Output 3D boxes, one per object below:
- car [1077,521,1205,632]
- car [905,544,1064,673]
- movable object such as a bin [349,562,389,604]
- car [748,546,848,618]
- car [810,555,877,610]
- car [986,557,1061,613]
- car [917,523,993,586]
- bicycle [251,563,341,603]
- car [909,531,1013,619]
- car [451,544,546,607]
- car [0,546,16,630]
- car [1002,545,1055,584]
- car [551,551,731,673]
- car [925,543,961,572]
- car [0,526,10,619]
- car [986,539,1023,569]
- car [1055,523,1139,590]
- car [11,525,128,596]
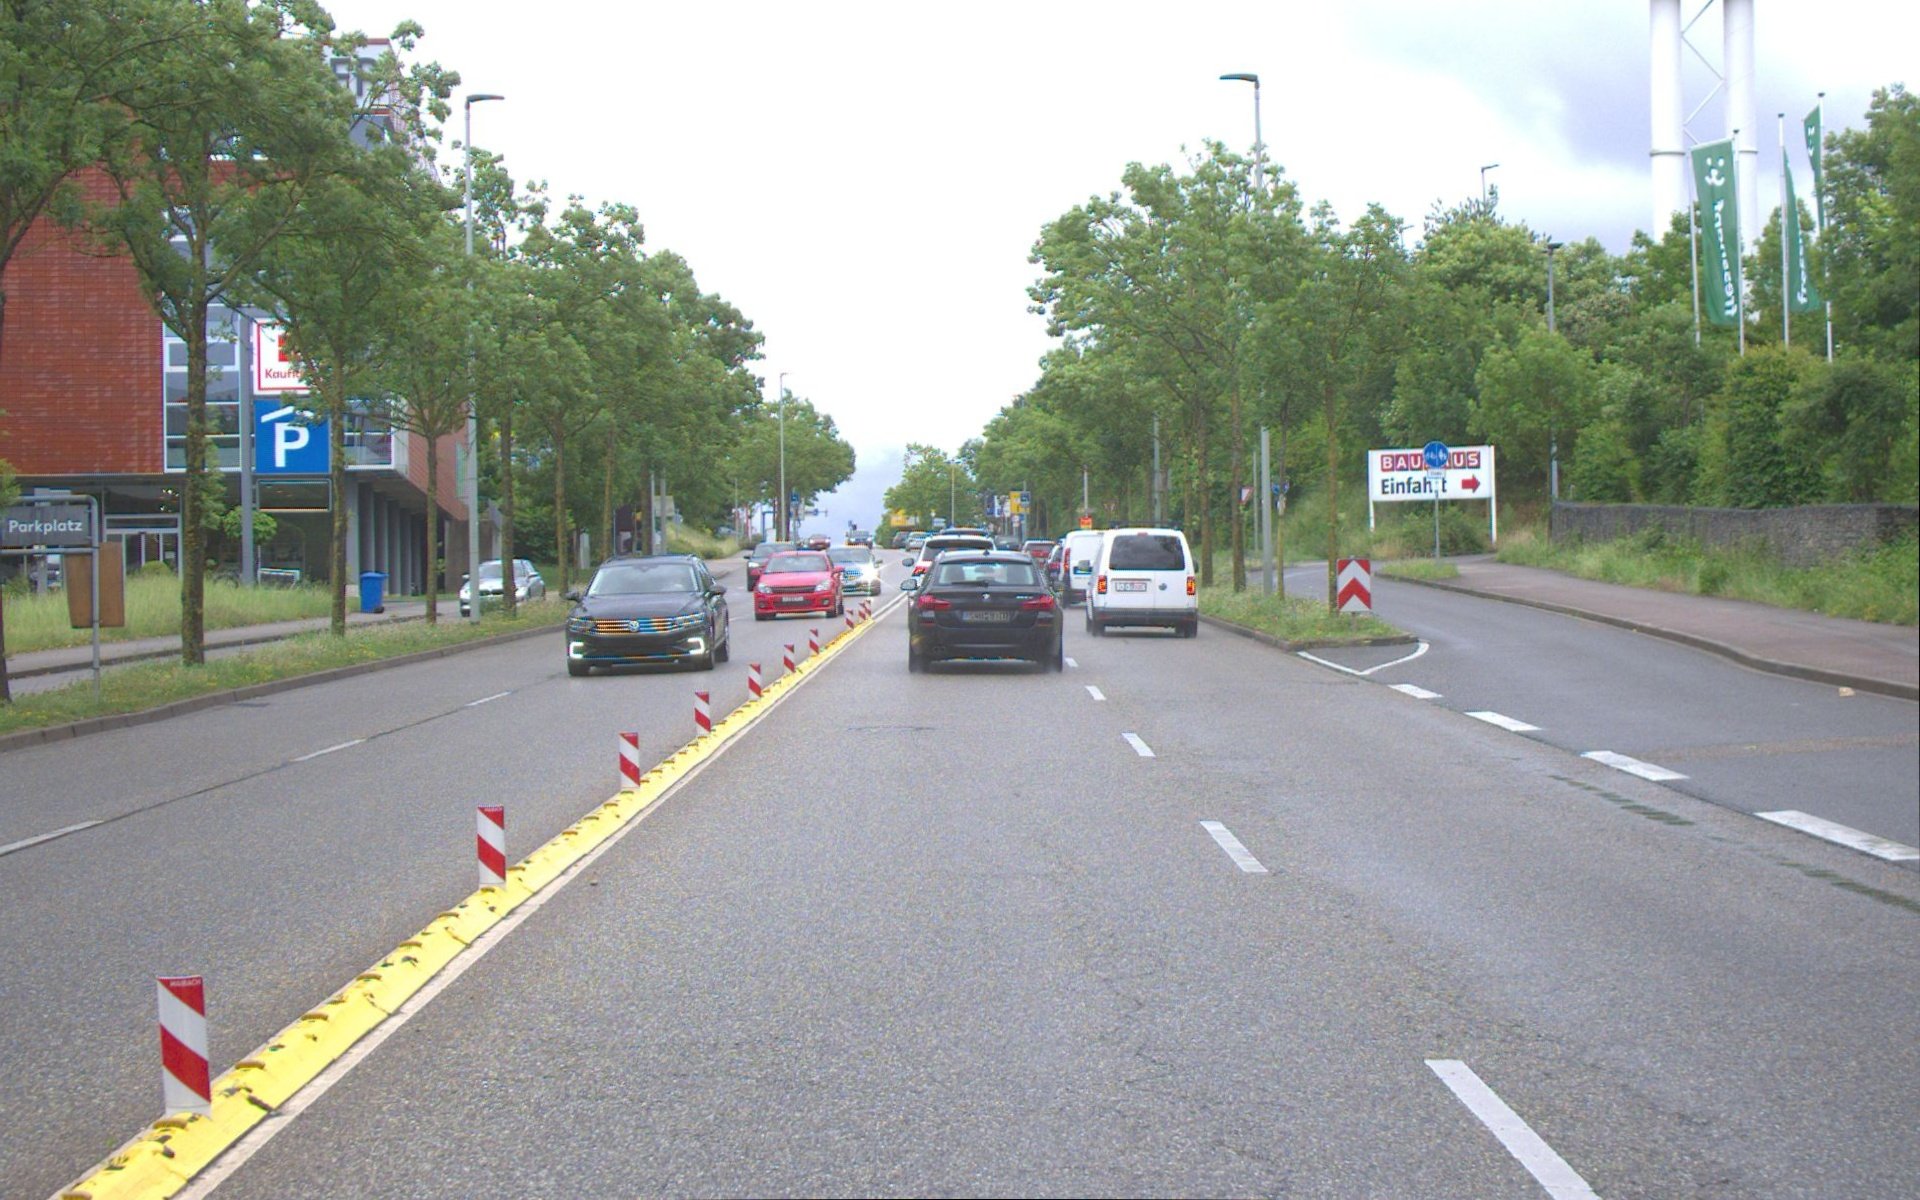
[{"bbox_3d":[3.000,-0.421,57.672,1.827,1.753,4.000,1,1,-1],"label":"car"},{"bbox_3d":[0.317,0.070,42.087,1.827,1.463,4.000,-1,1,1],"label":"car"},{"bbox_3d":[-15.834,-0.459,92.063,0.819,1.075,1.086,3,1,0],"label":"movable object such as a bin"},{"bbox_3d":[-3.390,-0.405,72.729,1.762,1.420,4.180,-1,1,2],"label":"car"},{"bbox_3d":[-3.312,-0.515,98.599,1.667,1.405,4.378,-3,1,1],"label":"car"},{"bbox_3d":[1.746,-0.417,95.690,1.794,1.505,4.000,1,0,-3],"label":"car"},{"bbox_3d":[-0.148,-1.125,86.175,1.794,1.505,4.000,1,0,-1],"label":"car"},{"bbox_3d":[-17.604,-0.453,91.206,2.077,0.932,1.093,4,0,4],"label":"bicycle"},{"bbox_3d":[0.012,-0.446,62.245,1.794,1.505,4.000,1,0,0],"label":"car"},{"bbox_3d":[-12.333,-0.673,92.101,1.867,1.547,4.576,-3,1,0],"label":"car"},{"bbox_3d":[-21.442,-0.199,72.316,2.039,1.756,4.947,0,2,-3],"label":"car"},{"bbox_3d":[2.692,-1.395,135.632,1.794,1.505,4.000,1,0,-3],"label":"car"},{"bbox_3d":[-4.062,0.117,44.435,1.827,1.461,4.616,-1,1,1],"label":"car"},{"bbox_3d":[-0.912,-2.251,183.528,1.794,1.505,4.000,1,0,-1],"label":"car"},{"bbox_3d":[-22.946,-0.595,77.984,2.113,2.088,5.124,0,2,-9],"label":"car"},{"bbox_3d":[2.340,-2.421,181.815,1.794,1.505,4.000,1,0,-1],"label":"car"},{"bbox_3d":[3.208,-1.009,81.290,1.794,1.505,4.000,1,0,0],"label":"car"},{"bbox_3d":[-24.070,-1.082,93.084,2.137,1.767,4.609,0,2,-2],"label":"car"}]
